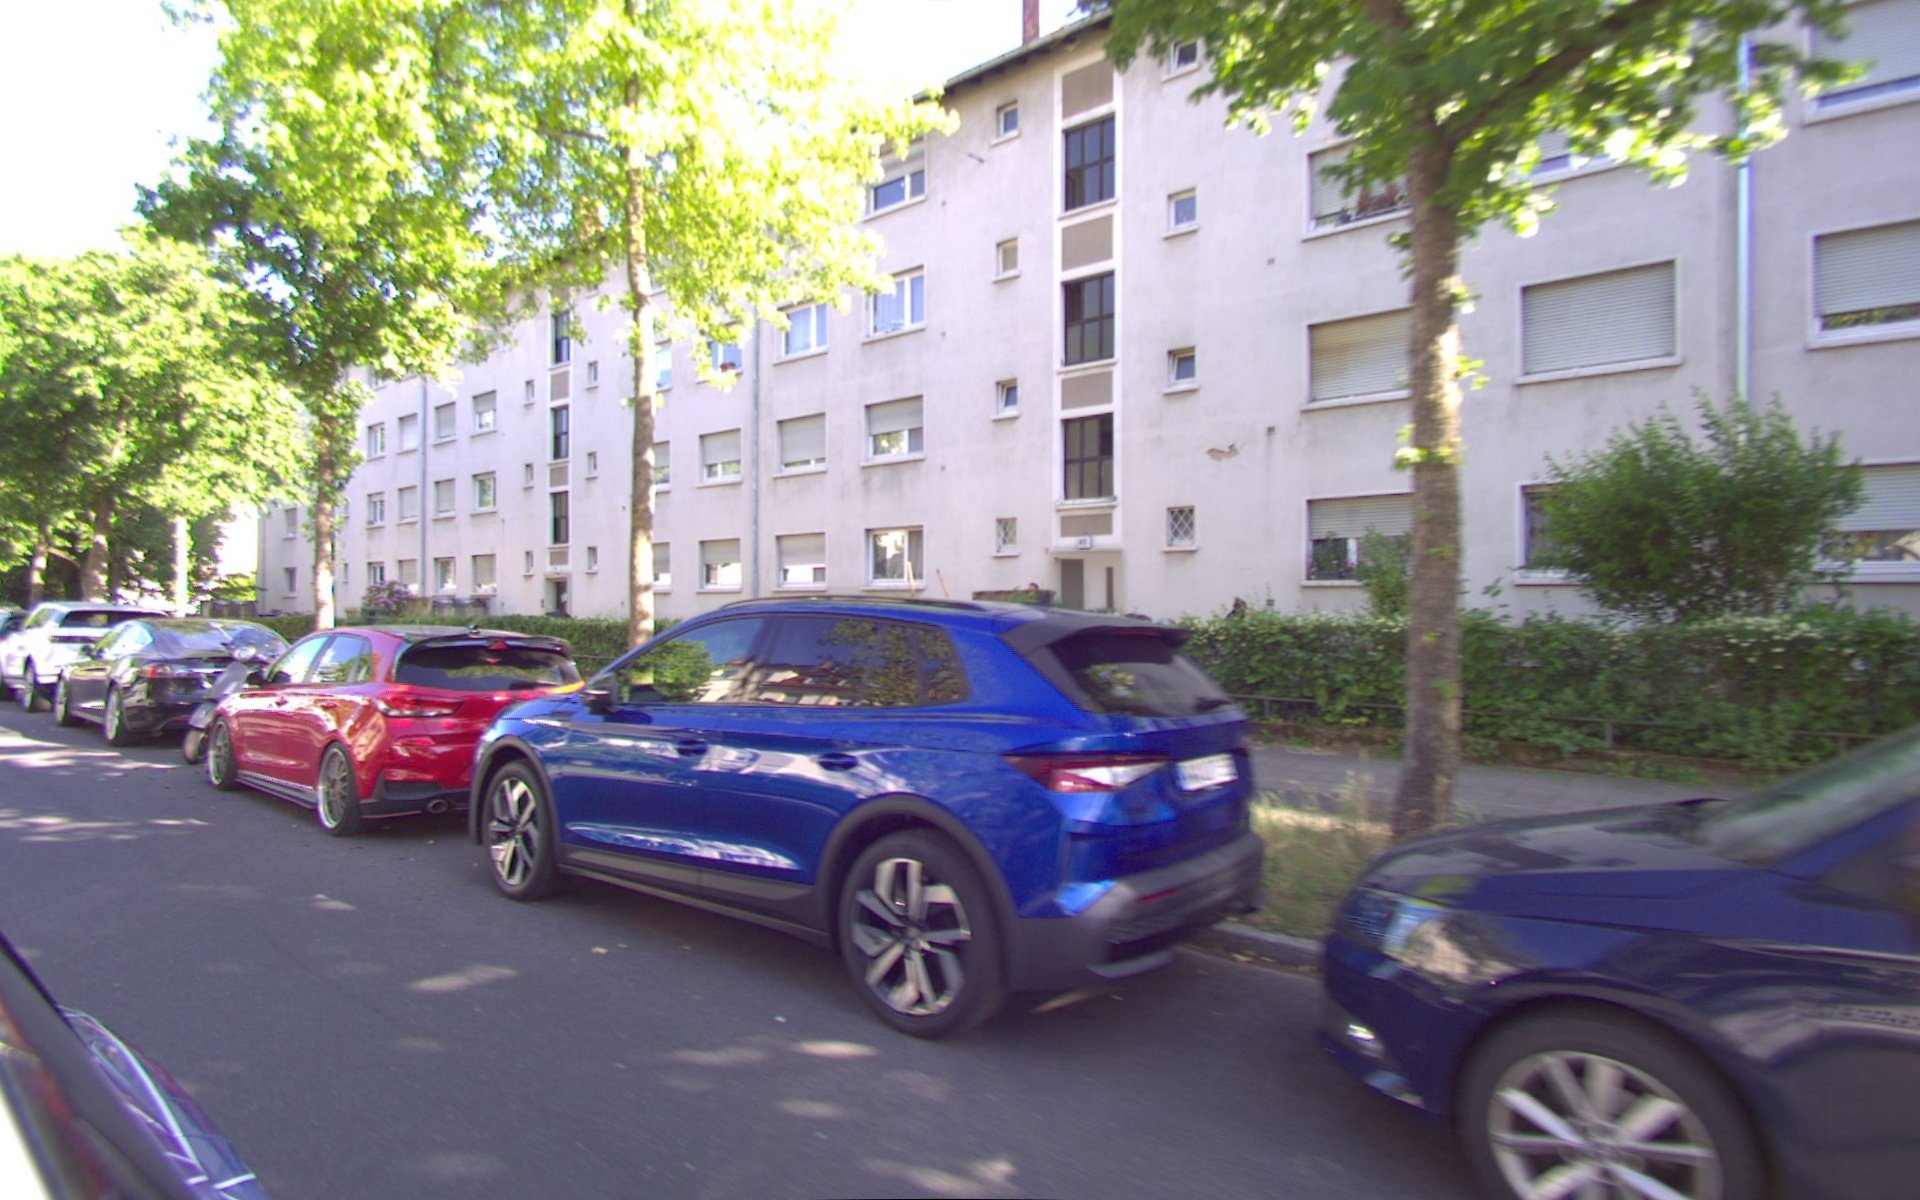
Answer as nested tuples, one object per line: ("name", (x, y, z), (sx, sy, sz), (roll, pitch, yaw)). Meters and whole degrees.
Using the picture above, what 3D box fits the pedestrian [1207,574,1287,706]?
("pedestrian", (4.343, 0.595, 15.342), (0.770, 1.928, 0.881), (1, -1, -24))

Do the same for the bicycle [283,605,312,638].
("bicycle", (-26.543, 0.853, 40.514), (1.912, 1.299, 0.394), (0, -1, 39))

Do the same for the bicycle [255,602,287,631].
("bicycle", (-29.370, 0.684, 43.108), (1.911, 1.210, 0.678), (0, -1, 42))

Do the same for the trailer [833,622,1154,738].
("trailer", (0.311, 0.808, 11.476), (3.280, 1.041, 1.770), (0, 0, 42))

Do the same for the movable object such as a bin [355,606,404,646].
("movable object such as a bin", (-16.092, 0.712, 28.069), (0.752, 1.100, 0.922), (0, -1, 34))

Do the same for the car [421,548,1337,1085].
("car", (-0.665, 0.675, 5.046), (4.457, 1.578, 1.773), (0, -3, 37))

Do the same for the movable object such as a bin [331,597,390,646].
("movable object such as a bin", (-16.967, 0.594, 28.655), (1.375, 1.334, 0.922), (0, -1, 34))

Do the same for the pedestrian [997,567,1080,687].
("pedestrian", (1.294, 0.427, 16.669), (1.025, 1.902, 0.923), (0, -1, 42))

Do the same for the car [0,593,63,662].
("car", (-23.092, 0.619, 23.811), (4.713, 1.535, 2.045), (0, -1, 37))

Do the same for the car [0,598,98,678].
("car", (-19.142, 0.736, 20.456), (4.815, 1.458, 1.711), (0, -3, 39))

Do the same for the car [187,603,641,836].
("car", (-4.568, 0.762, 8.188), (4.259, 1.389, 1.761), (0, -2, 40))

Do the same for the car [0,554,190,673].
("car", (-13.844, 0.185, 15.947), (4.361, 1.630, 1.711), (0, 0, 39))

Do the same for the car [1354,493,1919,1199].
("car", (3.197, 0.544, 2.066), (4.118, 1.464, 1.811), (0, -1, 39))

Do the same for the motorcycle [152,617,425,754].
("motorcycle", (-7.027, 0.851, 10.757), (0.805, 1.280, 2.270), (0, -2, 29))

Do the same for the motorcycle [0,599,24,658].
("motorcycle", (-26.054, 0.727, 26.466), (2.202, 1.515, 0.989), (1, -1, 0))

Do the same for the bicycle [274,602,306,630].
("bicycle", (-28.913, 0.678, 43.639), (1.911, 1.210, 0.678), (0, -1, 42))

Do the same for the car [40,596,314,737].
("car", (-10.023, 0.754, 12.817), (4.615, 1.489, 1.711), (0, -4, 40))

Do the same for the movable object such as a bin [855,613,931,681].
("movable object such as a bin", (-1.076, 0.744, 16.233), (0.843, 1.041, 0.873), (0, -1, 41))

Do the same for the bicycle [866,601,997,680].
("bicycle", (-0.494, 0.640, 16.967), (1.978, 1.240, 1.082), (0, -1, 41))
